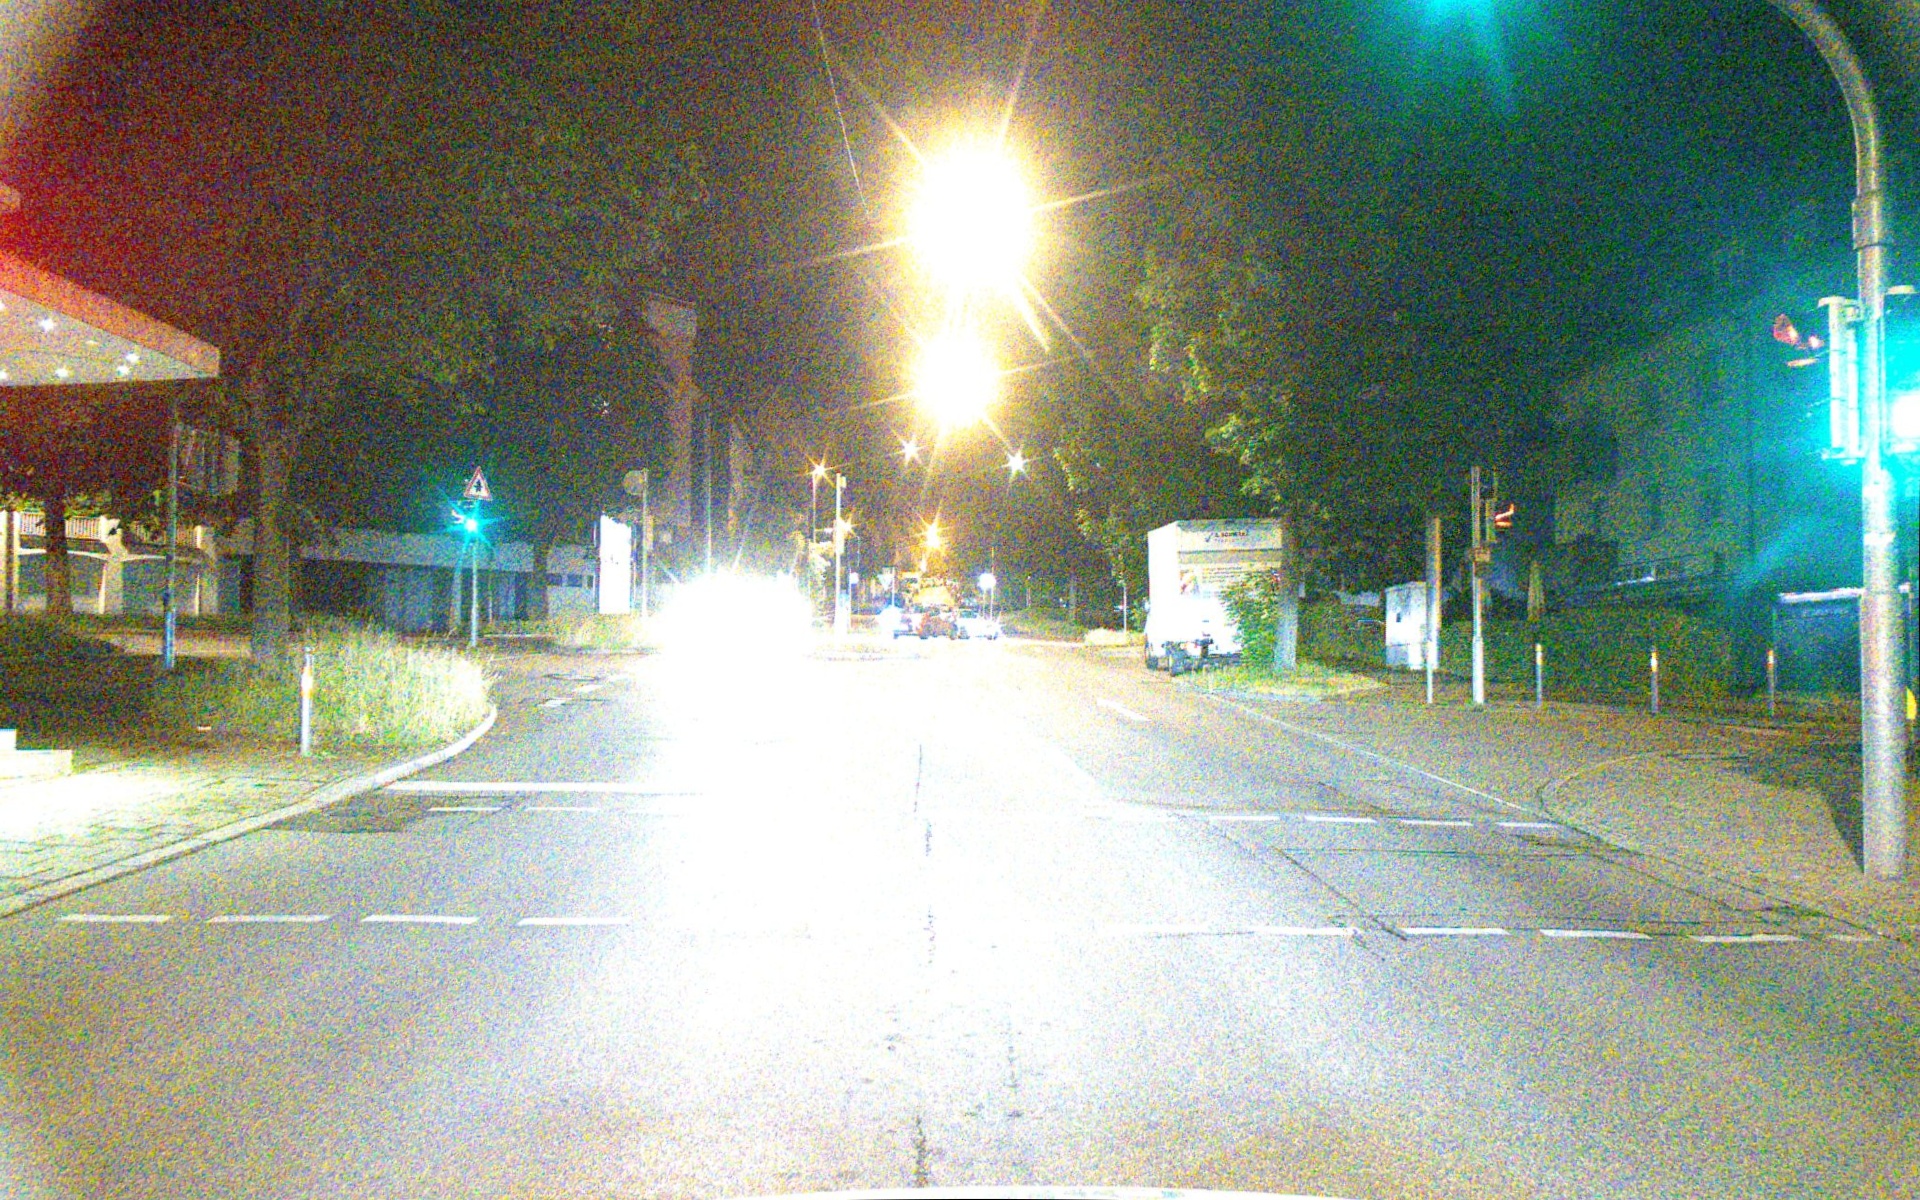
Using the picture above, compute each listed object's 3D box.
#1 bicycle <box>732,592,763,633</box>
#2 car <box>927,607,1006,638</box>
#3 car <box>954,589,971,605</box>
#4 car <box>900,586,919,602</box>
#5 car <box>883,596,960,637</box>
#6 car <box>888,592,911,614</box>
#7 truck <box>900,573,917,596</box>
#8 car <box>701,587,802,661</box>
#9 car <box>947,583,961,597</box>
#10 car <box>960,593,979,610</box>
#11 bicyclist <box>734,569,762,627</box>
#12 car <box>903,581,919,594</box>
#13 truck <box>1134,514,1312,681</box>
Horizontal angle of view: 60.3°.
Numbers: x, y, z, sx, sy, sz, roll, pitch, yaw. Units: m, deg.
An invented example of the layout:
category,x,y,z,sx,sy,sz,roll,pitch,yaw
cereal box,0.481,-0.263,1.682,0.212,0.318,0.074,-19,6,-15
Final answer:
category,x,y,z,sx,sy,sz,roll,pitch,yaw
bicycle,-6.191,0.366,48.279,0.682,1.169,1.950,1,0,-1
car,0.294,1.084,80.335,1.895,1.413,4.540,1,0,-28
car,0.216,-0.305,159.578,1.601,1.477,3.484,1,0,-1
car,-4.927,-0.611,160.794,1.779,1.517,3.998,1,0,-2
car,-1.496,0.641,65.459,1.552,1.528,3.390,1,0,29
car,-4.939,0.222,134.661,1.778,1.713,3.999,1,0,-1
truck,-6.497,-1.935,209.801,2.044,2.897,5.828,1,0,-2
car,-4.667,0.512,37.490,1.819,1.561,4.026,1,0,-1
car,-0.705,-1.159,191.778,1.601,1.477,3.484,1,0,-1
car,0.833,0.136,143.666,1.601,1.477,3.484,1,0,-1
bicyclist,-6.175,-0.053,48.196,0.676,1.666,0.896,1,-1,-1
car,-5.588,-1.408,187.177,1.779,1.517,3.998,1,0,-2
truck,5.384,-0.056,34.883,2.693,3.165,6.258,1,0,0
